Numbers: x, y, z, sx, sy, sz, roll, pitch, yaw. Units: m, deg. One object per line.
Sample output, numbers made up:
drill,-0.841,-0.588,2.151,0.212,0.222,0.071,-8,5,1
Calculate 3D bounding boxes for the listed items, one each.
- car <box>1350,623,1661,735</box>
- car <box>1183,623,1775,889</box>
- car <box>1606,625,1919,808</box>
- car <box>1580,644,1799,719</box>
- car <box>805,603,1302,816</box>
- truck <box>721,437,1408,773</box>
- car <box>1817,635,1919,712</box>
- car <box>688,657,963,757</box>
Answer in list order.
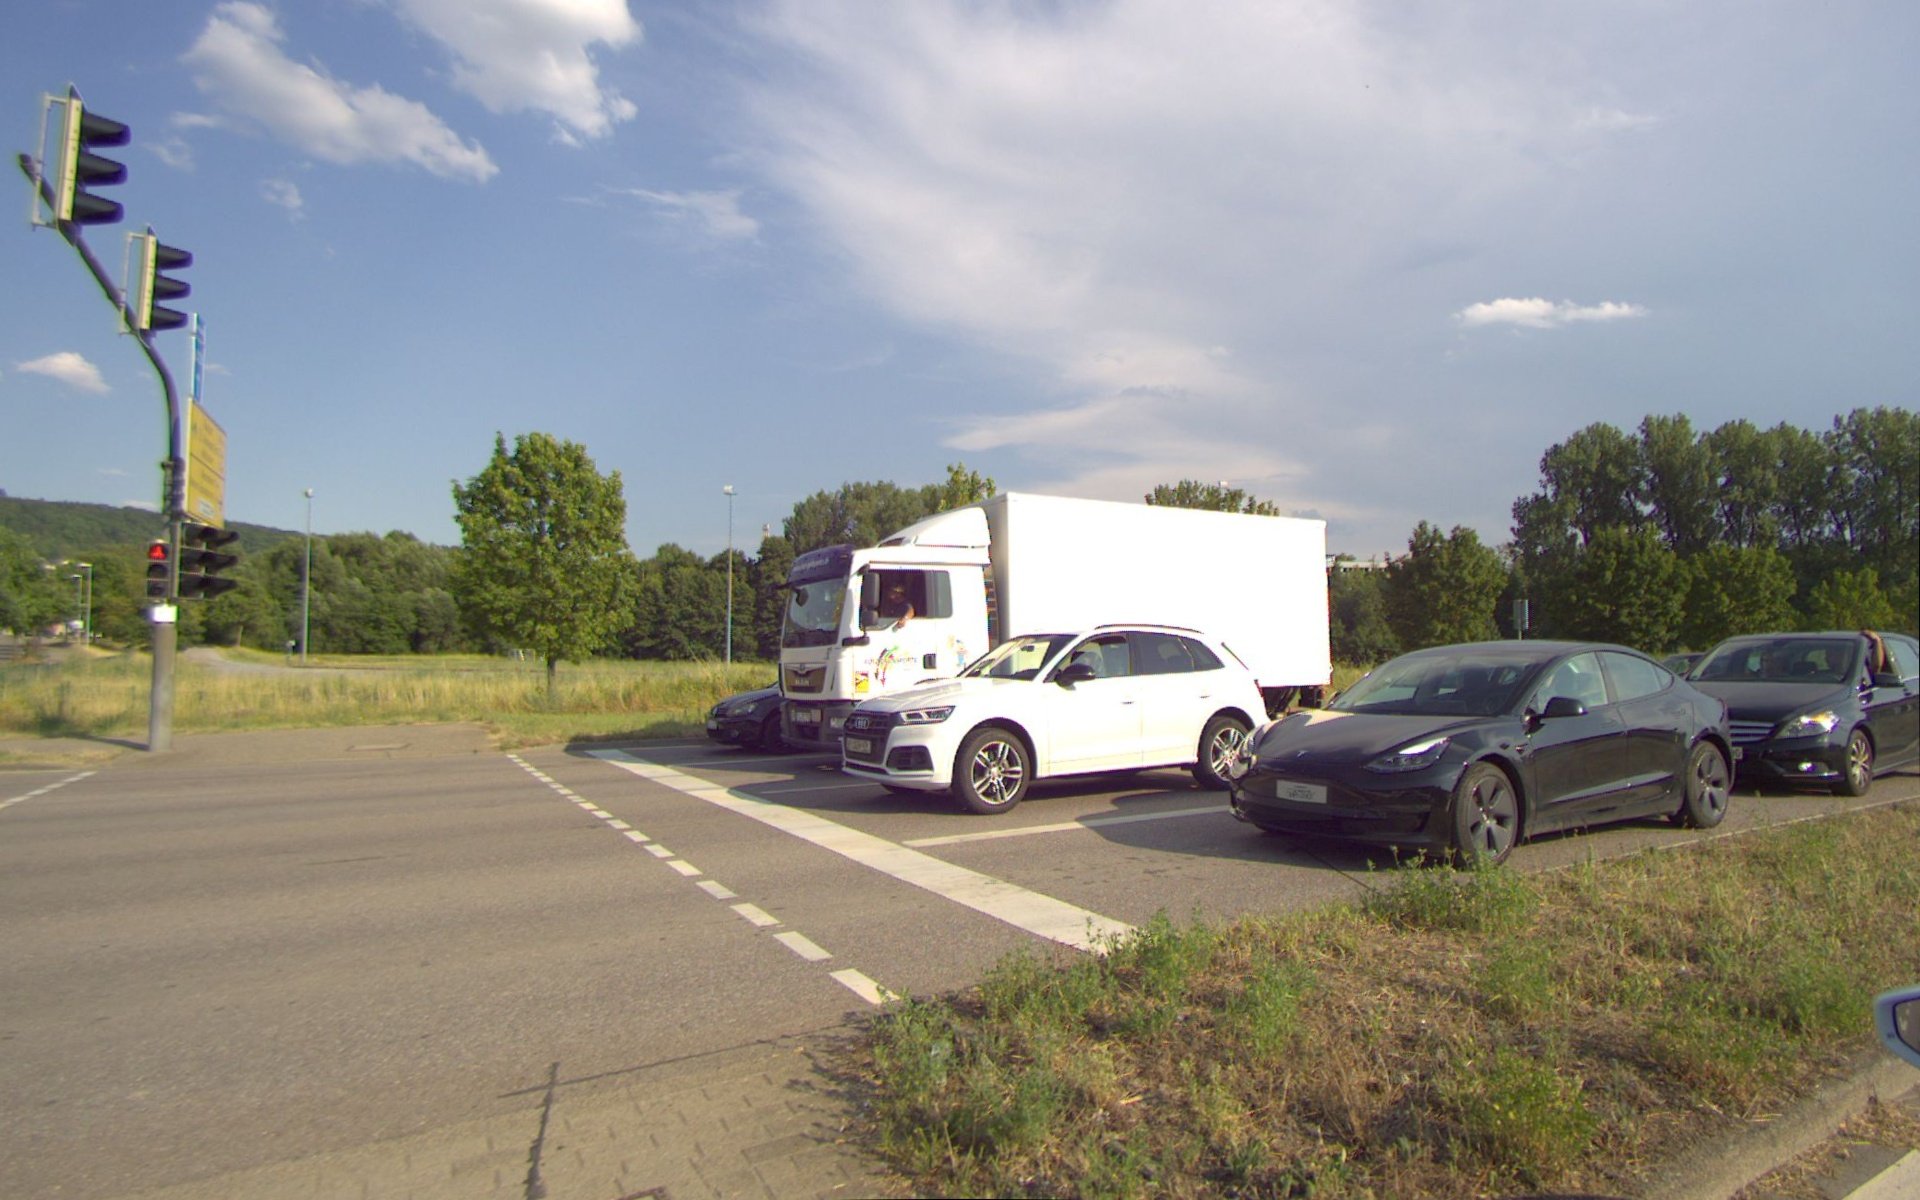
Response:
car,8.079,1.134,14.735,5.023,1.423,1.694,3,-3,-31
car,4.118,0.991,7.676,4.874,1.485,1.781,3,-3,-32
car,9.013,1.066,10.649,4.517,1.558,1.772,0,-2,-30
car,14.239,1.521,19.537,4.763,1.300,1.694,1,-3,-31
car,1.035,1.012,10.128,4.752,1.700,1.984,3,-4,-31
truck,1.986,0.334,14.971,10.372,3.737,2.921,3,-5,-29
car,19.995,1.522,21.146,4.197,1.492,1.694,2,-4,-31
car,-2.099,1.633,15.892,3.952,1.394,1.806,3,-4,-29
